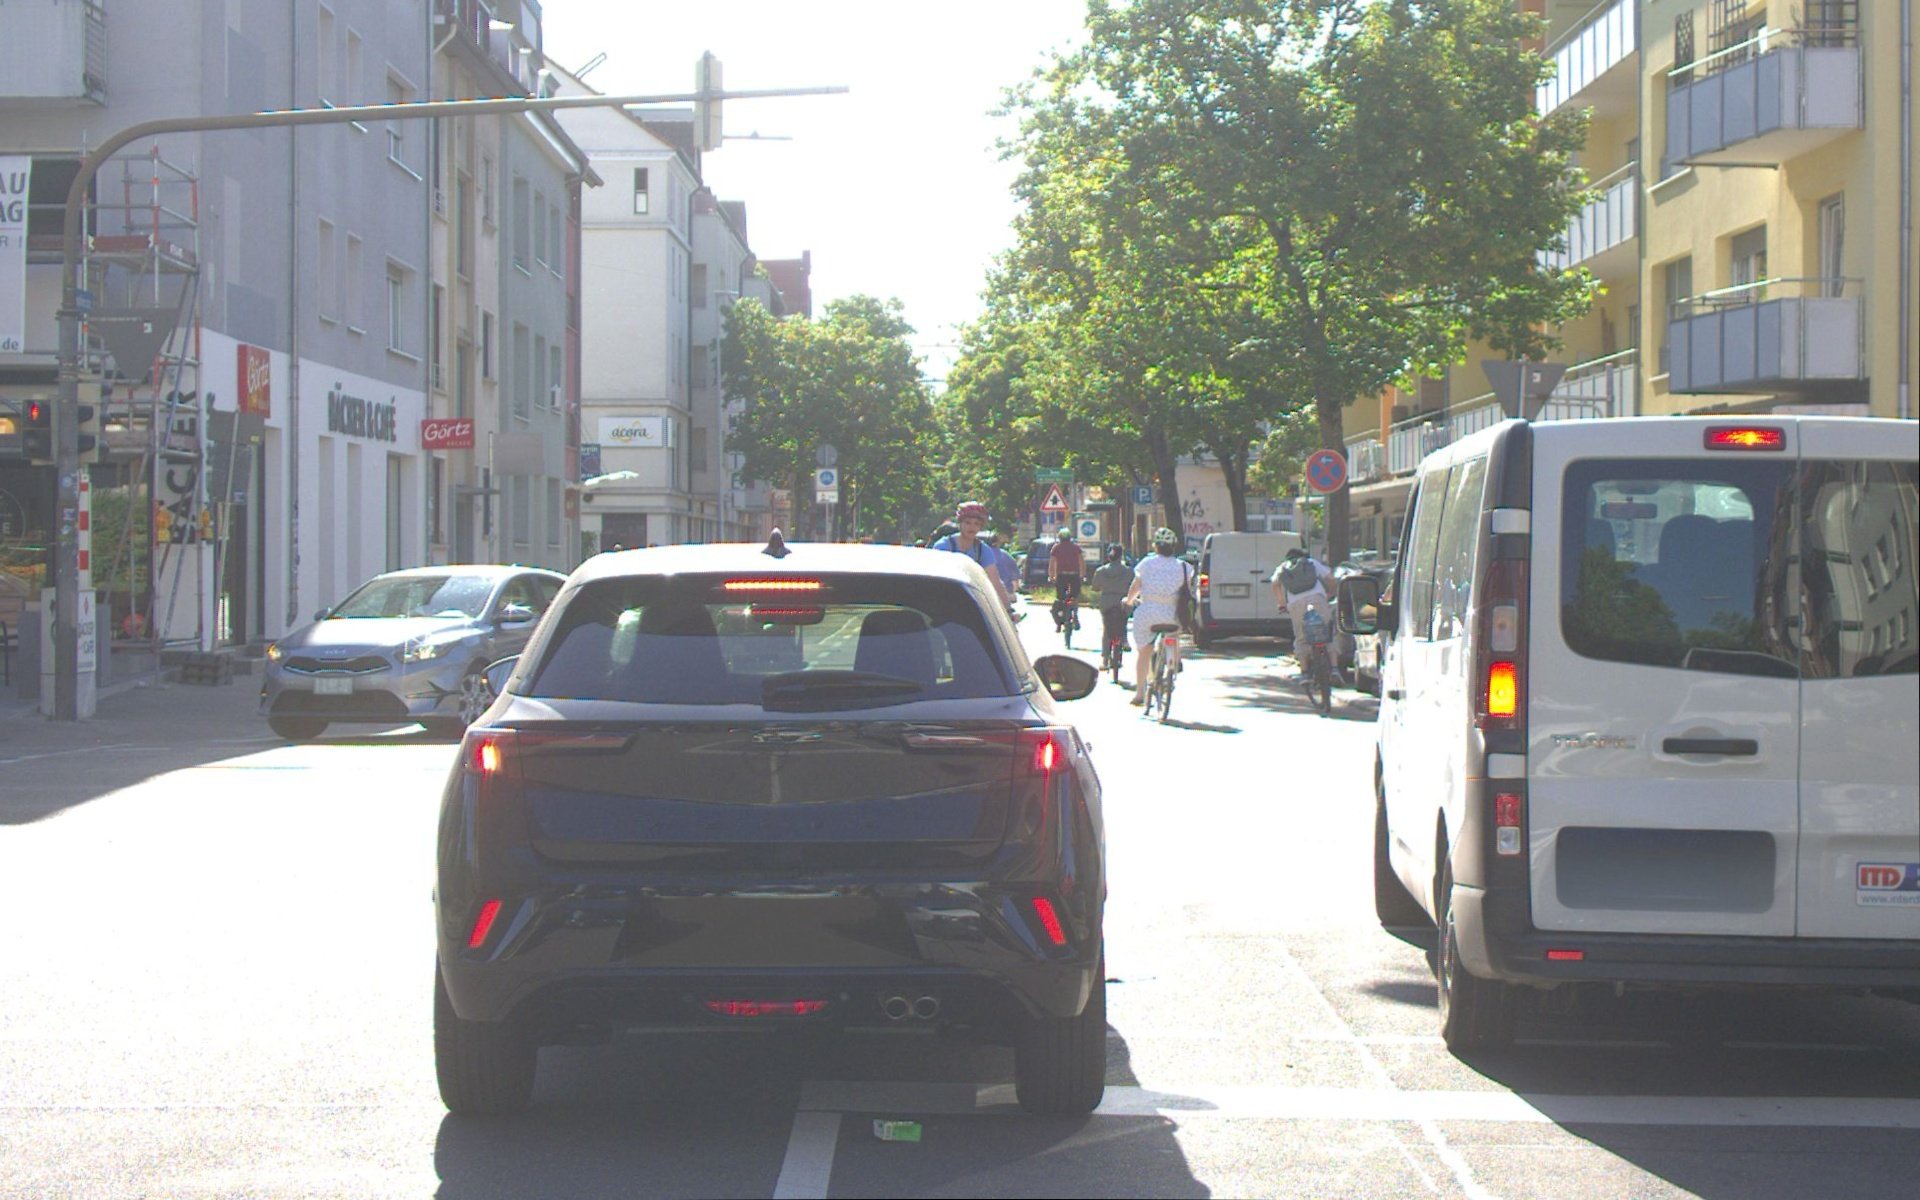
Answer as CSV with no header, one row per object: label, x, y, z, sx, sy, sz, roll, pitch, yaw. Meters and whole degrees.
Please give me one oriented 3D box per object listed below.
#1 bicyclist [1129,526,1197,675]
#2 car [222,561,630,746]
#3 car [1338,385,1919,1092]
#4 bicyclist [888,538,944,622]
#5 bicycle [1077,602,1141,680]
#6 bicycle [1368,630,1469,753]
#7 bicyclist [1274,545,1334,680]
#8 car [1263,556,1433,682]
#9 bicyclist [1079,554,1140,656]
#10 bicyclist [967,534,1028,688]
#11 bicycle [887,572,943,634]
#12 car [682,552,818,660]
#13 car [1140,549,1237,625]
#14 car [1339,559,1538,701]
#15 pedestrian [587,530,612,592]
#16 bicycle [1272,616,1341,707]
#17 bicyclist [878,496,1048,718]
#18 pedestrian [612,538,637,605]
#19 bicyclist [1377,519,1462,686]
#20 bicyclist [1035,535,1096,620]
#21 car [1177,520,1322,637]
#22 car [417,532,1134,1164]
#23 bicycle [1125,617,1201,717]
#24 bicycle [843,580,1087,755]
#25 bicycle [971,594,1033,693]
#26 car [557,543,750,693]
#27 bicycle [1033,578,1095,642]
bicyclist,1.893,-0.005,32.150,0.588,1.378,0.823,0,1,1
car,-4.438,0.393,29.262,1.838,1.429,4.173,0,1,16
car,2.508,0.370,12.081,1.968,1.933,5.055,2,1,3
bicyclist,-0.713,-0.329,55.966,0.856,1.310,1.210,2,1,-1
bicycle,1.762,0.475,40.833,0.691,0.863,1.876,0,1,1
bicycle,3.516,0.685,26.472,0.547,0.863,1.876,0,1,1
bicyclist,3.556,0.122,35.578,0.547,1.378,0.823,0,1,1
car,4.770,0.201,42.645,1.712,1.478,3.381,0,1,0
bicyclist,1.771,0.057,40.749,0.692,1.189,0.595,0,1,1
bicyclist,0.410,0.108,37.697,0.632,1.663,1.050,0,1,-1
bicycle,-0.732,0.039,55.727,0.856,0.942,2.307,2,1,-1
car,-2.974,0.051,48.777,1.804,1.408,4.426,-1,1,-3
car,4.580,-0.279,69.324,1.712,1.478,3.381,0,1,0
car,5.257,0.296,38.153,1.712,1.478,3.480,0,1,0
pedestrian,-8.501,-0.919,81.108,0.577,1.462,0.703,0,1,-6
bicycle,3.562,0.624,35.440,0.547,0.863,1.876,0,1,1
bicyclist,0.014,0.042,26.093,0.801,1.644,1.125,0,1,-34
pedestrian,-7.932,-0.678,81.300,0.577,1.577,0.708,0,1,-6
bicyclist,3.513,0.012,26.319,0.547,1.257,0.803,0,1,1
bicyclist,1.675,-0.363,54.814,0.856,1.310,1.210,2,1,-1
car,4.714,-0.385,56.550,2.046,1.840,4.584,0,1,1
car,-0.480,0.591,10.485,1.762,1.553,4.000,0,1,-1
bicycle,1.892,0.614,32.169,0.620,0.863,1.876,0,1,1
bicycle,0.013,0.485,26.098,0.801,1.251,2.138,0,1,-34
bicycle,0.458,0.467,37.855,0.632,1.038,1.795,0,1,-1
car,-3.330,0.176,37.985,1.592,1.560,4.089,-1,0,2
bicycle,1.654,0.147,54.904,0.856,0.942,2.307,2,1,-1
